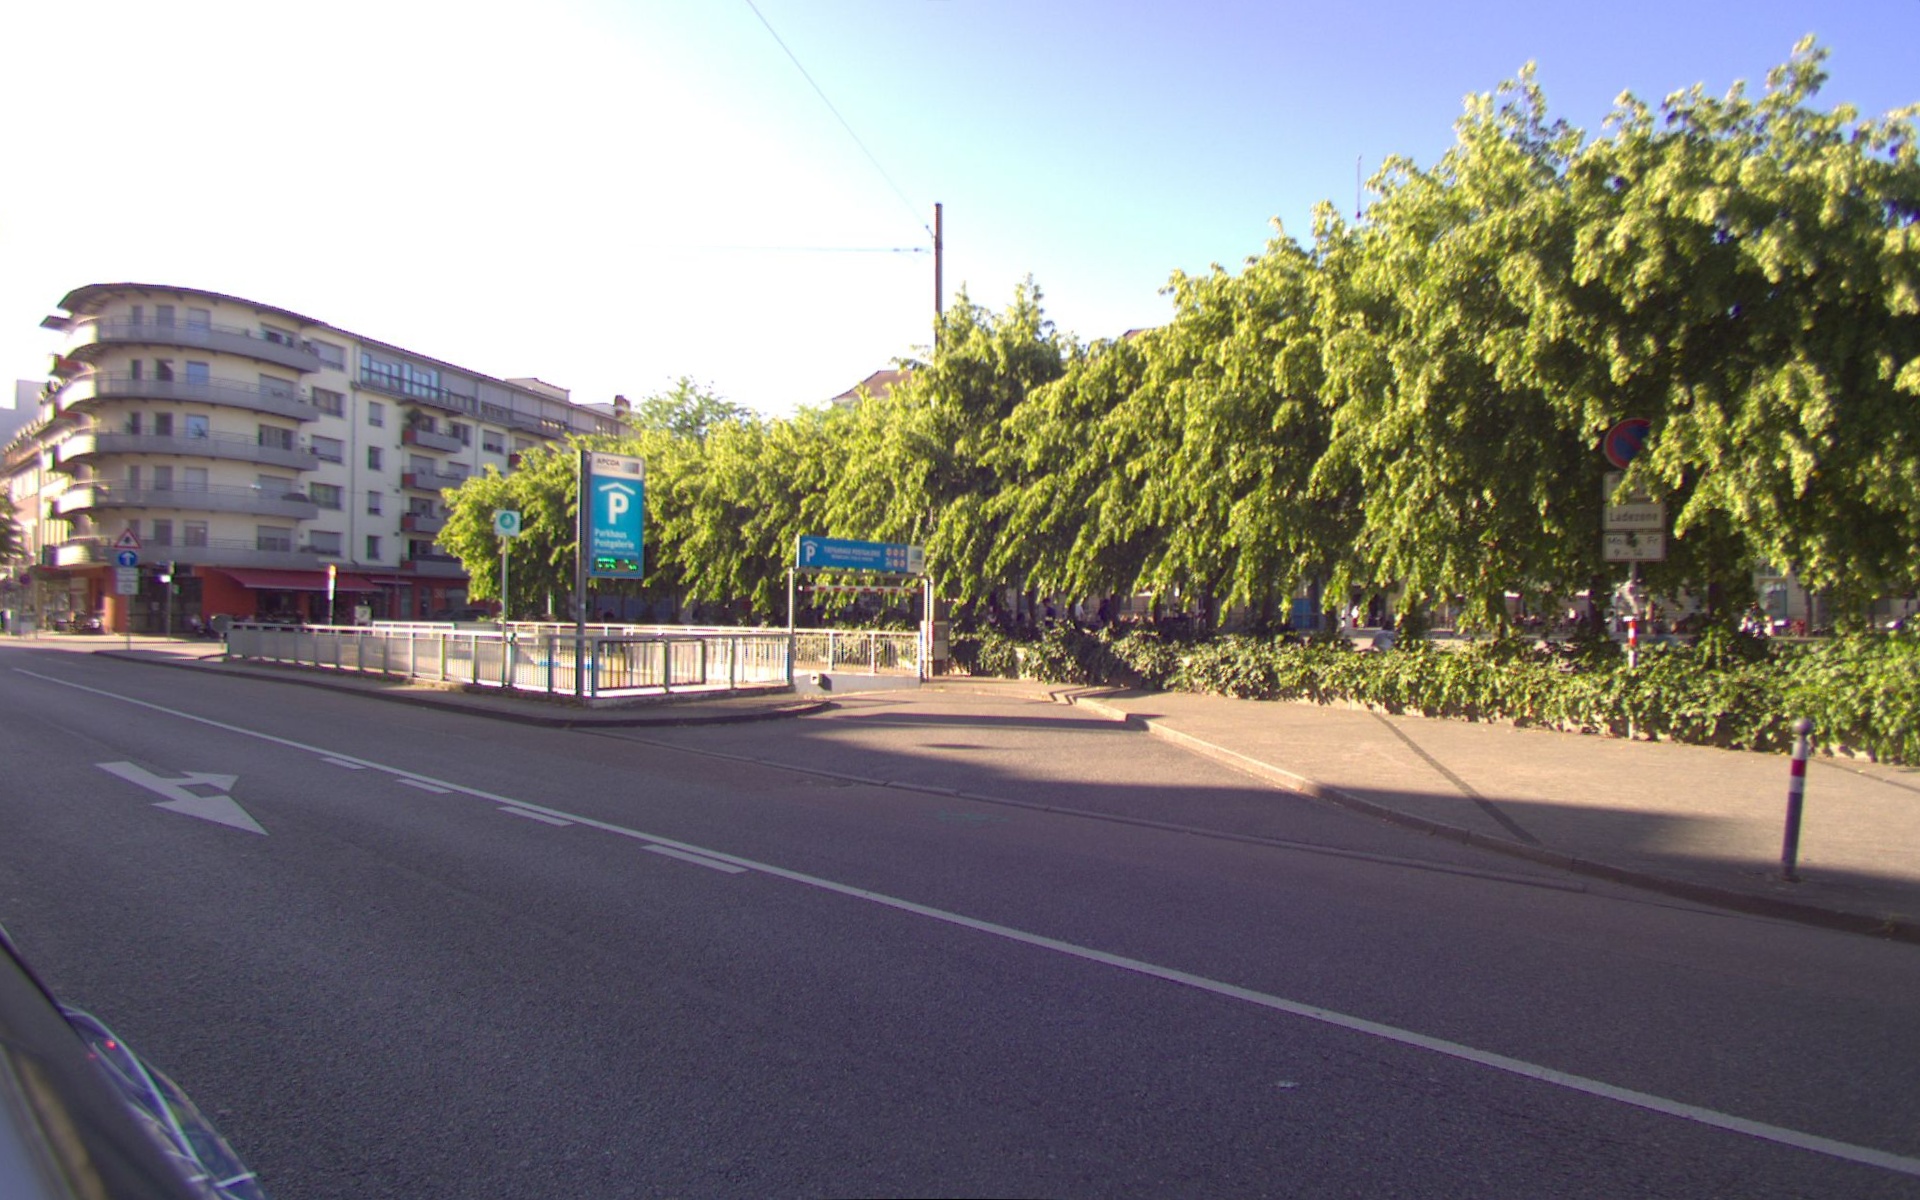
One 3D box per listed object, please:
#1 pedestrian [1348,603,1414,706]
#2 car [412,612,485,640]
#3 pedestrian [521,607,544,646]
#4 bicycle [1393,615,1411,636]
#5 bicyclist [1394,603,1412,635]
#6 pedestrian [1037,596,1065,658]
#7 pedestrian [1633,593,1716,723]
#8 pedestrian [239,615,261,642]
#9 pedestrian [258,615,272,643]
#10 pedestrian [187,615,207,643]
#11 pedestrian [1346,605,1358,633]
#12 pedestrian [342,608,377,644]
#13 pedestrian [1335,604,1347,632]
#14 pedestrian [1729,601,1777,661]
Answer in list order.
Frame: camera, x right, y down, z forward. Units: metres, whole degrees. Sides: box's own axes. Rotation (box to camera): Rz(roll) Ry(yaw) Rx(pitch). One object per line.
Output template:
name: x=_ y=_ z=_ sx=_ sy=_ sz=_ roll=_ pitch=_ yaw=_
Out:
pedestrian: x=7.483 y=0.945 z=17.991 sx=0.885 sy=1.771 sz=0.738 roll=0 pitch=-1 yaw=-39
car: x=-32.881 y=1.633 z=65.168 sx=1.983 sy=1.763 sz=3.978 roll=0 pitch=-1 yaw=17
pedestrian: x=-20.399 y=1.269 z=48.292 sx=0.753 sy=1.819 sz=0.748 roll=-1 pitch=-1 yaw=25
bicycle: x=20.298 y=1.159 z=46.496 sx=0.586 sy=0.961 sz=1.888 roll=-1 pitch=-1 yaw=29
bicyclist: x=20.369 y=0.877 z=46.513 sx=0.670 sy=1.439 sz=0.691 roll=-1 pitch=-1 yaw=29
pedestrian: x=2.539 y=0.745 z=28.086 sx=0.672 sy=1.683 sz=0.843 roll=0 pitch=-1 yaw=13
pedestrian: x=10.151 y=0.797 z=14.384 sx=0.885 sy=1.771 sz=0.738 roll=0 pitch=-1 yaw=-39
pedestrian: x=-39.077 y=1.547 z=55.726 sx=0.782 sy=1.473 sz=0.582 roll=0 pitch=-1 yaw=3
pedestrian: x=-37.655 y=1.555 z=54.848 sx=0.573 sy=1.501 sz=0.794 roll=0 pitch=-1 yaw=-36
pedestrian: x=-40.076 y=1.518 z=53.154 sx=0.780 sy=1.472 sz=0.583 roll=0 pitch=-1 yaw=-40
pedestrian: x=27.246 y=1.297 z=70.419 sx=0.751 sy=1.948 sz=0.938 roll=0 pitch=0 yaw=20
pedestrian: x=-34.594 y=1.471 z=58.326 sx=1.251 sy=2.029 sz=1.226 roll=-1 pitch=-1 yaw=19
pedestrian: x=26.525 y=1.230 z=70.426 sx=0.751 sy=1.948 sz=0.938 roll=-1 pitch=-1 yaw=20
pedestrian: x=23.907 y=0.923 z=30.525 sx=0.889 sy=1.771 sz=0.735 roll=0 pitch=-1 yaw=10
